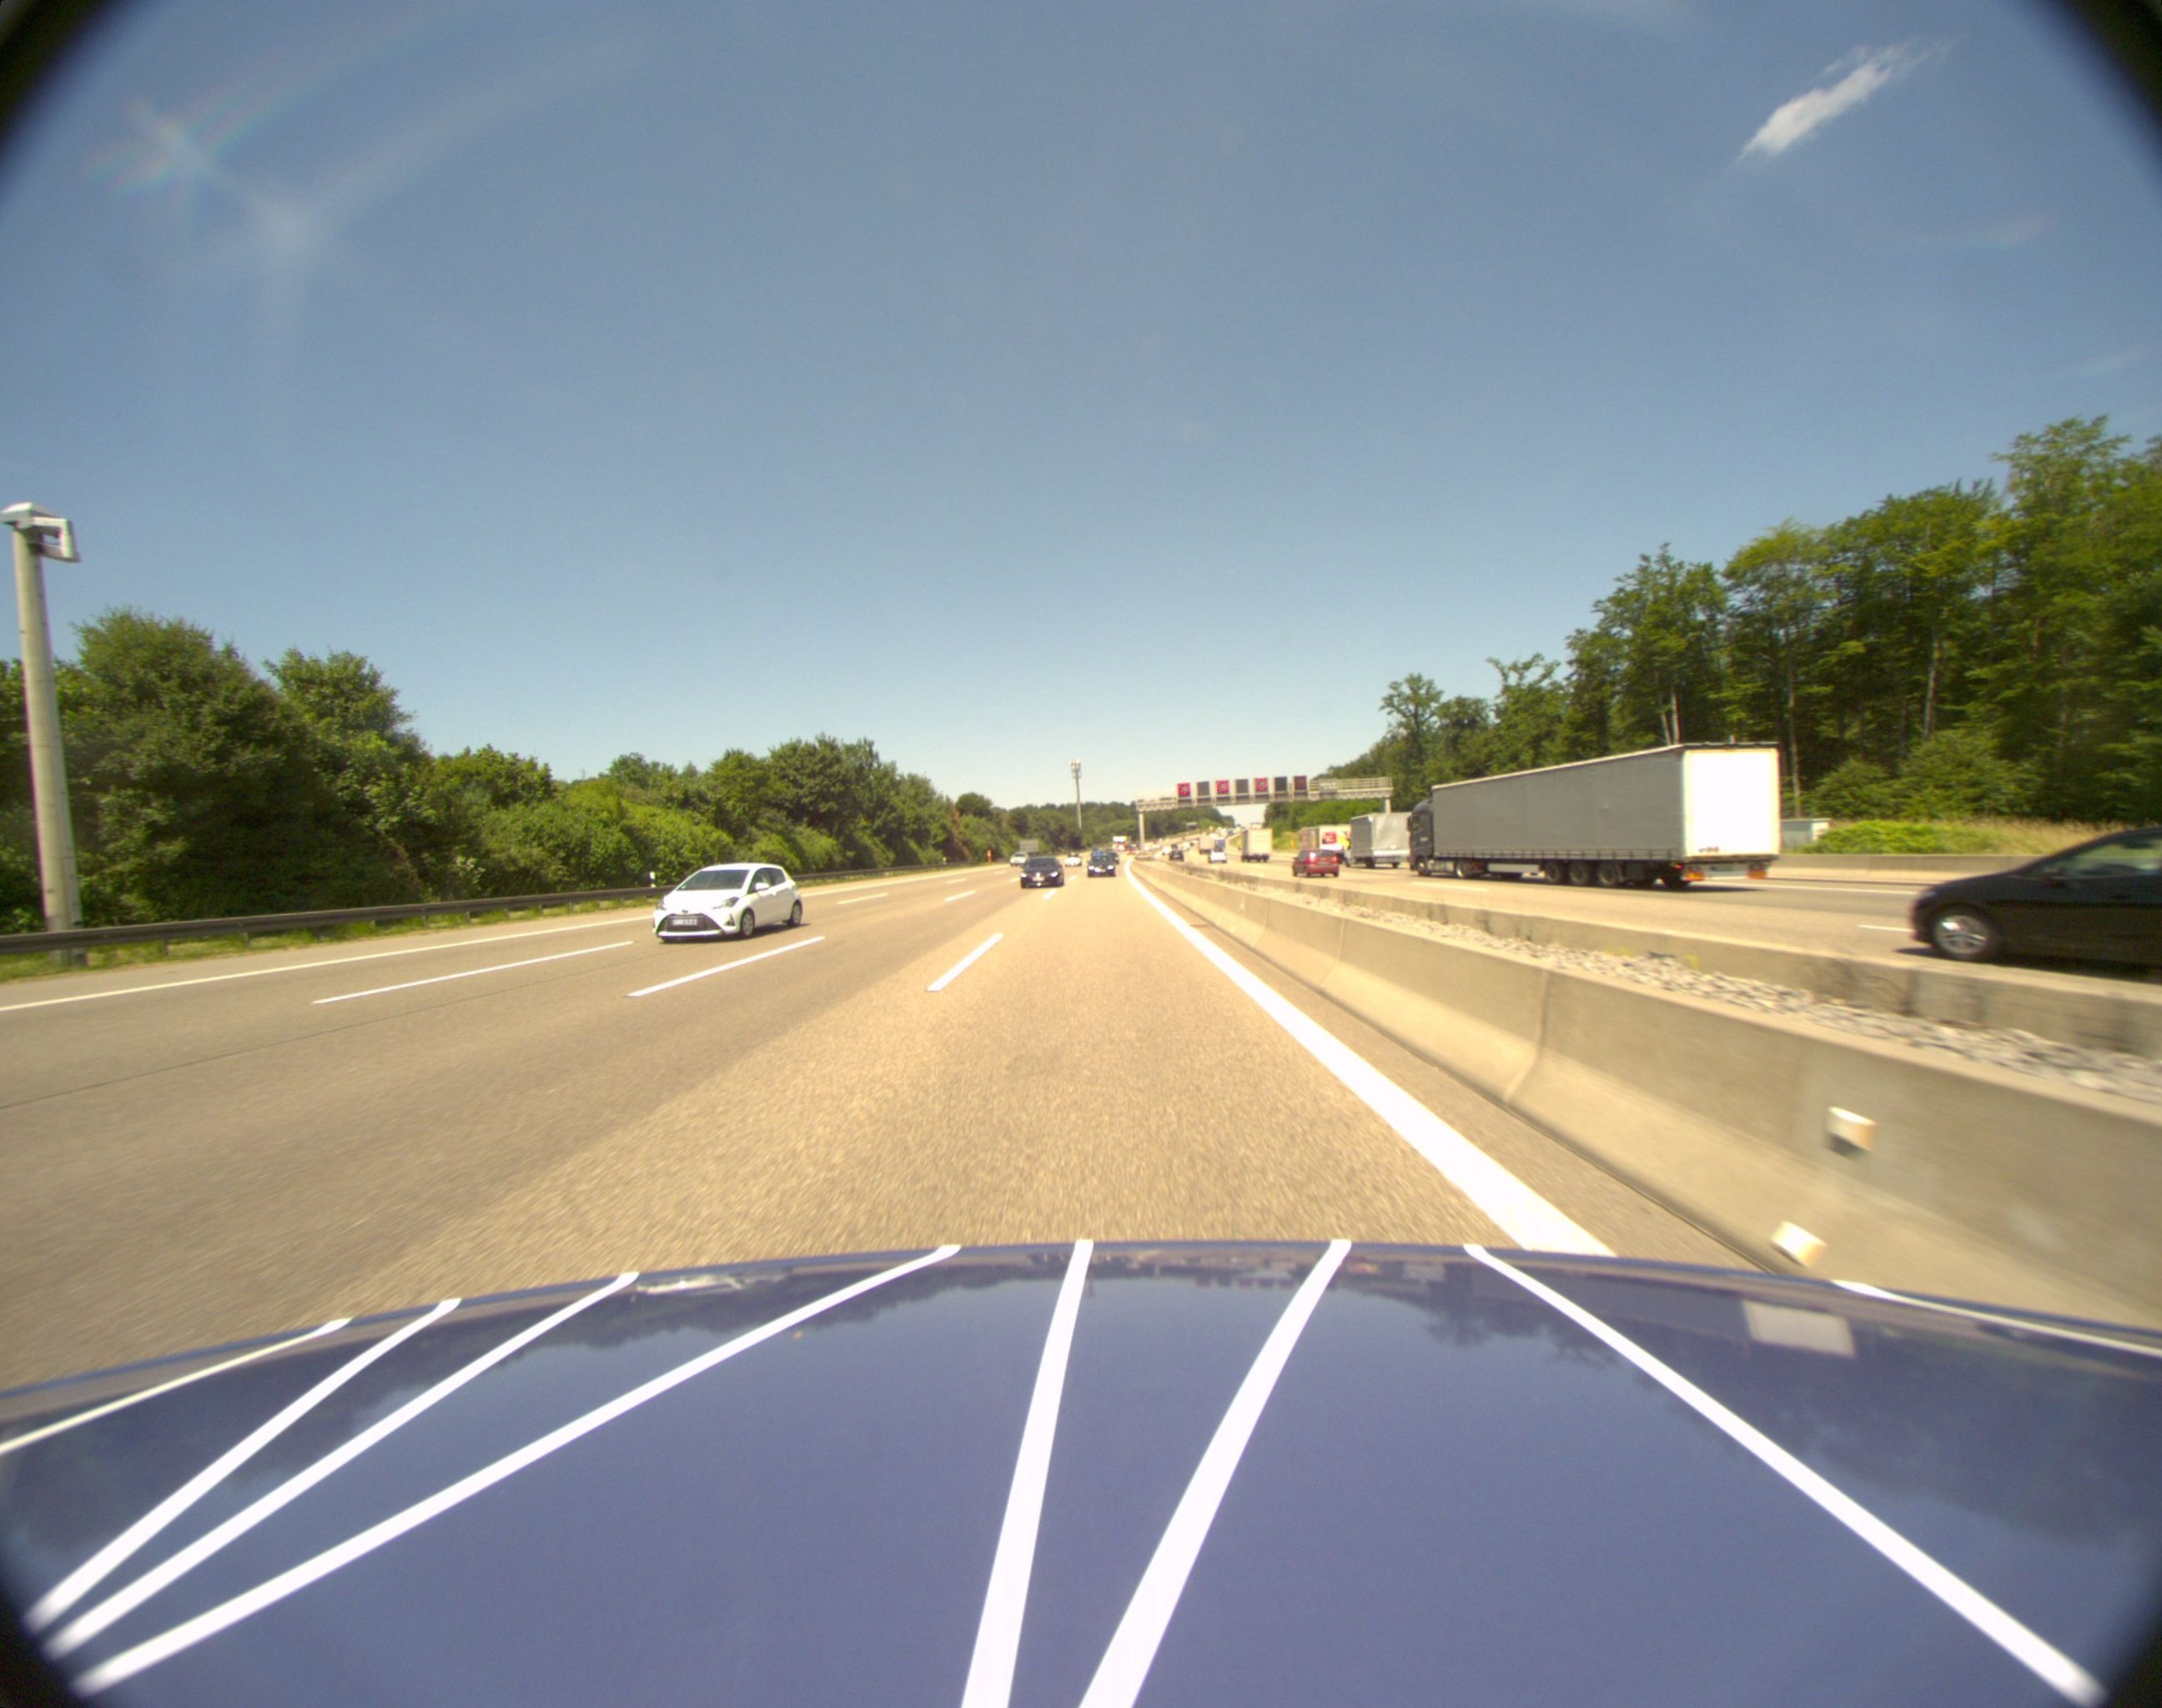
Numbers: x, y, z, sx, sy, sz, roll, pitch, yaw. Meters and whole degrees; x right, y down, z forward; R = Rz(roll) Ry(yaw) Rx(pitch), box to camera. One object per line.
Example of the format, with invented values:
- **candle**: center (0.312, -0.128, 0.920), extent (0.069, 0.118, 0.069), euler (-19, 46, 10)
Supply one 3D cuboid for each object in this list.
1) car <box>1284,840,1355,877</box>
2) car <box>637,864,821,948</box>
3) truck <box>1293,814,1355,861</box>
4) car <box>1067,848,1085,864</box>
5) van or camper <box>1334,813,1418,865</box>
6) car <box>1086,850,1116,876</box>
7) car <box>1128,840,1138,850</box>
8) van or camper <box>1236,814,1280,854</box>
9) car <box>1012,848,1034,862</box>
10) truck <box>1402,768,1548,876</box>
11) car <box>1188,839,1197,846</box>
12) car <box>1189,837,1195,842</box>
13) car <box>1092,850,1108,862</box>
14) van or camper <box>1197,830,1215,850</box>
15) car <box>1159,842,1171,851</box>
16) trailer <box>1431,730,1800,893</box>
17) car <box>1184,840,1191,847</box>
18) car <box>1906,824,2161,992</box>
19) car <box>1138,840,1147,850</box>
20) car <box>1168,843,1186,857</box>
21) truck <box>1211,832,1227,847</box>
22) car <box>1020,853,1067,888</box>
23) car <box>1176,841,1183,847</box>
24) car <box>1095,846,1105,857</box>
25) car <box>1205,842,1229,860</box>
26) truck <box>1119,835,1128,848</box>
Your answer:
- **car**: center (12.292, 0.190, 39.569), extent (2.292, 1.718, 5.031), euler (-2, 1, 2)
- **car**: center (-7.312, 0.991, 16.351), extent (1.754, 1.510, 4.485), euler (-1, -1, 1)
- **truck**: center (21.060, -1.464, 66.367), extent (2.876, 3.676, 9.240), euler (-3, 2, 4)
- **car**: center (-0.482, 0.189, 82.884), extent (1.729, 1.521, 3.741), euler (-2, 1, 2)
- **van or camper**: center (19.727, -1.052, 51.400), extent (2.771, 3.107, 8.093), euler (-3, 2, 3)
- **car**: center (1.315, 0.576, 48.613), extent (1.769, 1.495, 4.001), euler (-3, 0, 2)
- **car**: center (11.244, -1.957, 164.739), extent (1.998, 2.002, 4.001), euler (-3, 0, 4)
- **van or camper**: center (18.340, -2.139, 79.271), extent (2.836, 3.817, 8.213), euler (-3, 2, 3)
- **car**: center (-6.889, 0.065, 90.772), extent (1.998, 1.521, 4.000), euler (-2, 2, 4)
- **truck**: center (17.103, -1.306, 33.559), extent (2.884, 4.265, 6.451), euler (-2, 1, -2)
- **car**: center (31.885, -3.307, 217.392), extent (2.200, 2.044, 7.141), euler (-2, 1, 4)
- **car**: center (38.274, -4.980, 262.251), extent (1.679, 1.518, 4.611), euler (-3, 2, 6)
- **car**: center (2.979, 0.283, 117.680), extent (1.998, 1.521, 4.234), euler (-3, 2, 6)
- **van or camper**: center (24.141, -2.696, 147.111), extent (2.436, 3.657, 7.758), euler (-2, 1, 3)
- **car**: center (16.206, -1.449, 146.832), extent (1.992, 1.727, 5.345), euler (-3, 1, 4)
- **trailer**: center (17.377, -1.188, 27.069), extent (2.872, 4.238, 13.955), euler (-2, 1, -2)
- **car**: center (26.178, -2.594, 186.862), extent (1.703, 1.394, 4.352), euler (-2, 2, 9)
- **car**: center (10.892, 0.488, 7.044), extent (1.765, 1.511, 4.361), euler (-3, 1, 1)
- **car**: center (16.834, -2.457, 206.812), extent (2.233, 2.372, 4.161), euler (-3, 2, 3)
- **car**: center (11.971, -0.528, 94.889), extent (1.998, 1.581, 4.844), euler (-1, 1, 4)
- **truck**: center (29.933, -3.127, 164.900), extent (2.857, 2.976, 5.846), euler (-3, 2, 4)
- **car**: center (-1.715, 0.723, 36.157), extent (1.760, 1.431, 4.000), euler (-2, 2, 3)
- **car**: center (29.337, -2.981, 226.612), extent (1.830, 1.653, 4.917), euler (-2, 2, 6)
- **car**: center (4.085, -0.570, 163.892), extent (1.998, 2.002, 3.999), euler (-3, 2, 1)
- **car**: center (14.126, -0.279, 79.078), extent (1.744, 1.752, 5.119), euler (-2, 0, 3)
- **truck**: center (12.490, -3.646, 221.509), extent (2.434, 3.458, 7.022), euler (-3, 2, 4)
